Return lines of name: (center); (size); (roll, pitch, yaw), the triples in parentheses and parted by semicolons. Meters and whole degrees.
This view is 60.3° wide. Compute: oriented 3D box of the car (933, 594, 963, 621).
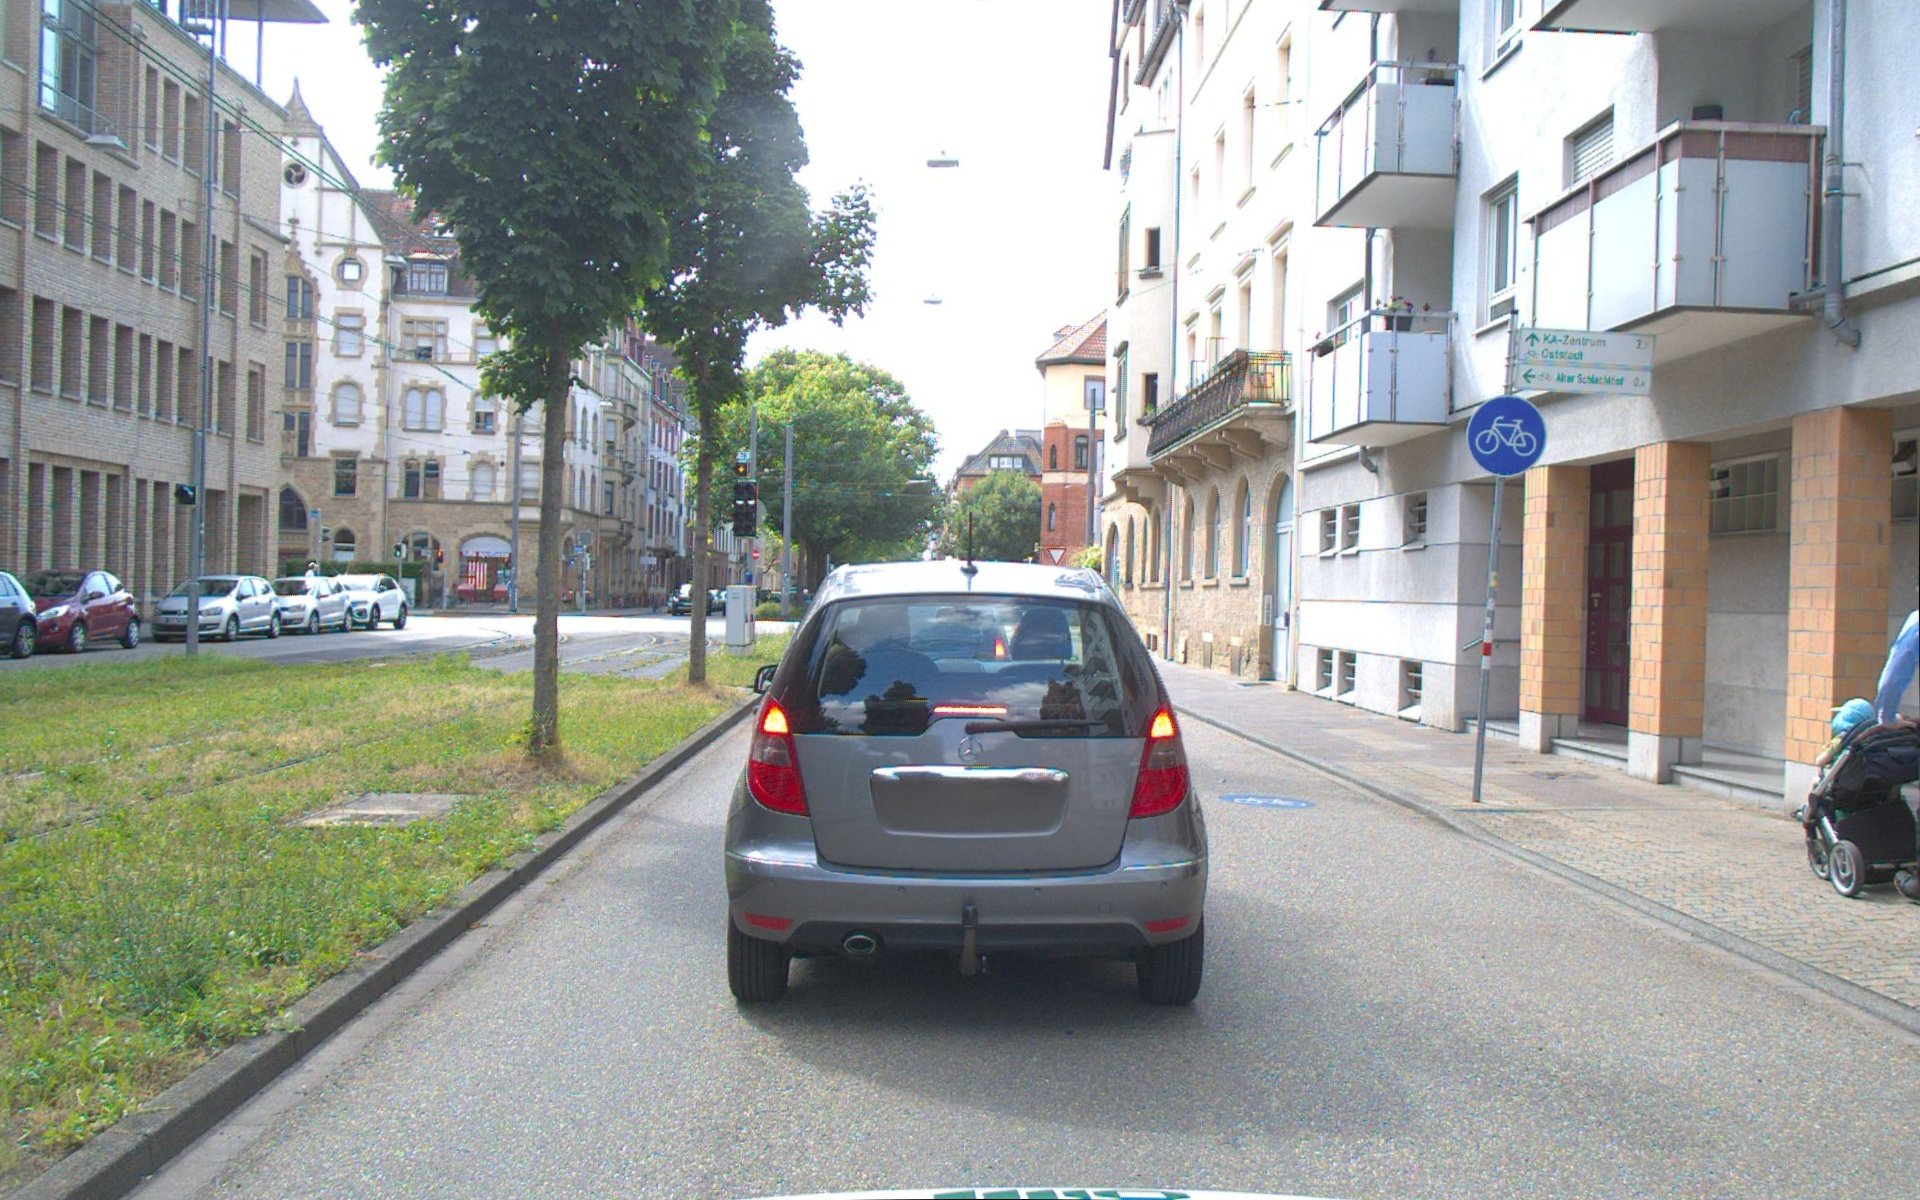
car: (-0.722, 0.467, 104.039); (1.716, 1.661, 3.500); (1, 0, 2)

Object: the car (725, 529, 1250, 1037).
car: (0.069, 0.595, 7.205); (1.687, 1.633, 3.676); (1, 0, -1)

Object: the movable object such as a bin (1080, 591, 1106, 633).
movable object such as a bin: (4.809, 0.426, 59.696); (0.701, 1.497, 0.980); (1, 0, -10)

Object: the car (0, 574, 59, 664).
car: (-16.170, 0.286, 25.826); (1.893, 1.420, 4.238); (1, 0, -1)

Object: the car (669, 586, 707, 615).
car: (-15.679, 0.019, 95.534); (1.955, 1.646, 3.994); (1, 0, -7)

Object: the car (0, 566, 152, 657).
car: (-16.496, 0.189, 30.404); (1.550, 1.557, 3.549); (1, 0, -1)

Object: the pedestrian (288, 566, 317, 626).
pedestrian: (-20.603, -0.128, 51.816); (0.751, 1.827, 0.952); (2, 0, -27)

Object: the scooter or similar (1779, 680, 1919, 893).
scooter or similar: (4.989, 0.984, 8.982); (0.580, 1.019, 0.905); (-3, 0, -1)

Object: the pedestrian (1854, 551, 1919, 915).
pedestrian: (4.946, 0.637, 8.079); (0.608, 1.769, 0.877); (-2, 0, -1)

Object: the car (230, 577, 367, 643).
car: (-16.863, 0.231, 42.346); (1.893, 1.557, 4.014); (1, 0, -1)

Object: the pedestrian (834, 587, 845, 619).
pedestrian: (-6.683, 0.160, 91.579); (0.484, 1.755, 0.652); (1, 0, -13)

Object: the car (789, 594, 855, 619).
car: (-8.247, 0.370, 98.533); (1.957, 1.362, 3.941); (2, 0, -41)

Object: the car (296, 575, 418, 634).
car: (-16.969, 0.116, 46.779); (1.893, 1.561, 4.257); (1, 0, -1)

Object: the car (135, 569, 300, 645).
car: (-16.564, 0.143, 37.132); (1.813, 1.557, 4.209); (1, 0, -1)

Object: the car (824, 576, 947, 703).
car: (-1.062, 0.548, 24.806); (1.687, 1.736, 3.676); (1, 0, -1)

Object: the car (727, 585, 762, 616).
car: (-12.625, 0.018, 97.119); (1.955, 1.758, 3.994); (1, 0, -7)

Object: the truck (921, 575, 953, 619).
truck: (-1.607, -0.233, 116.992); (2.079, 3.022, 4.001); (1, 0, 2)
